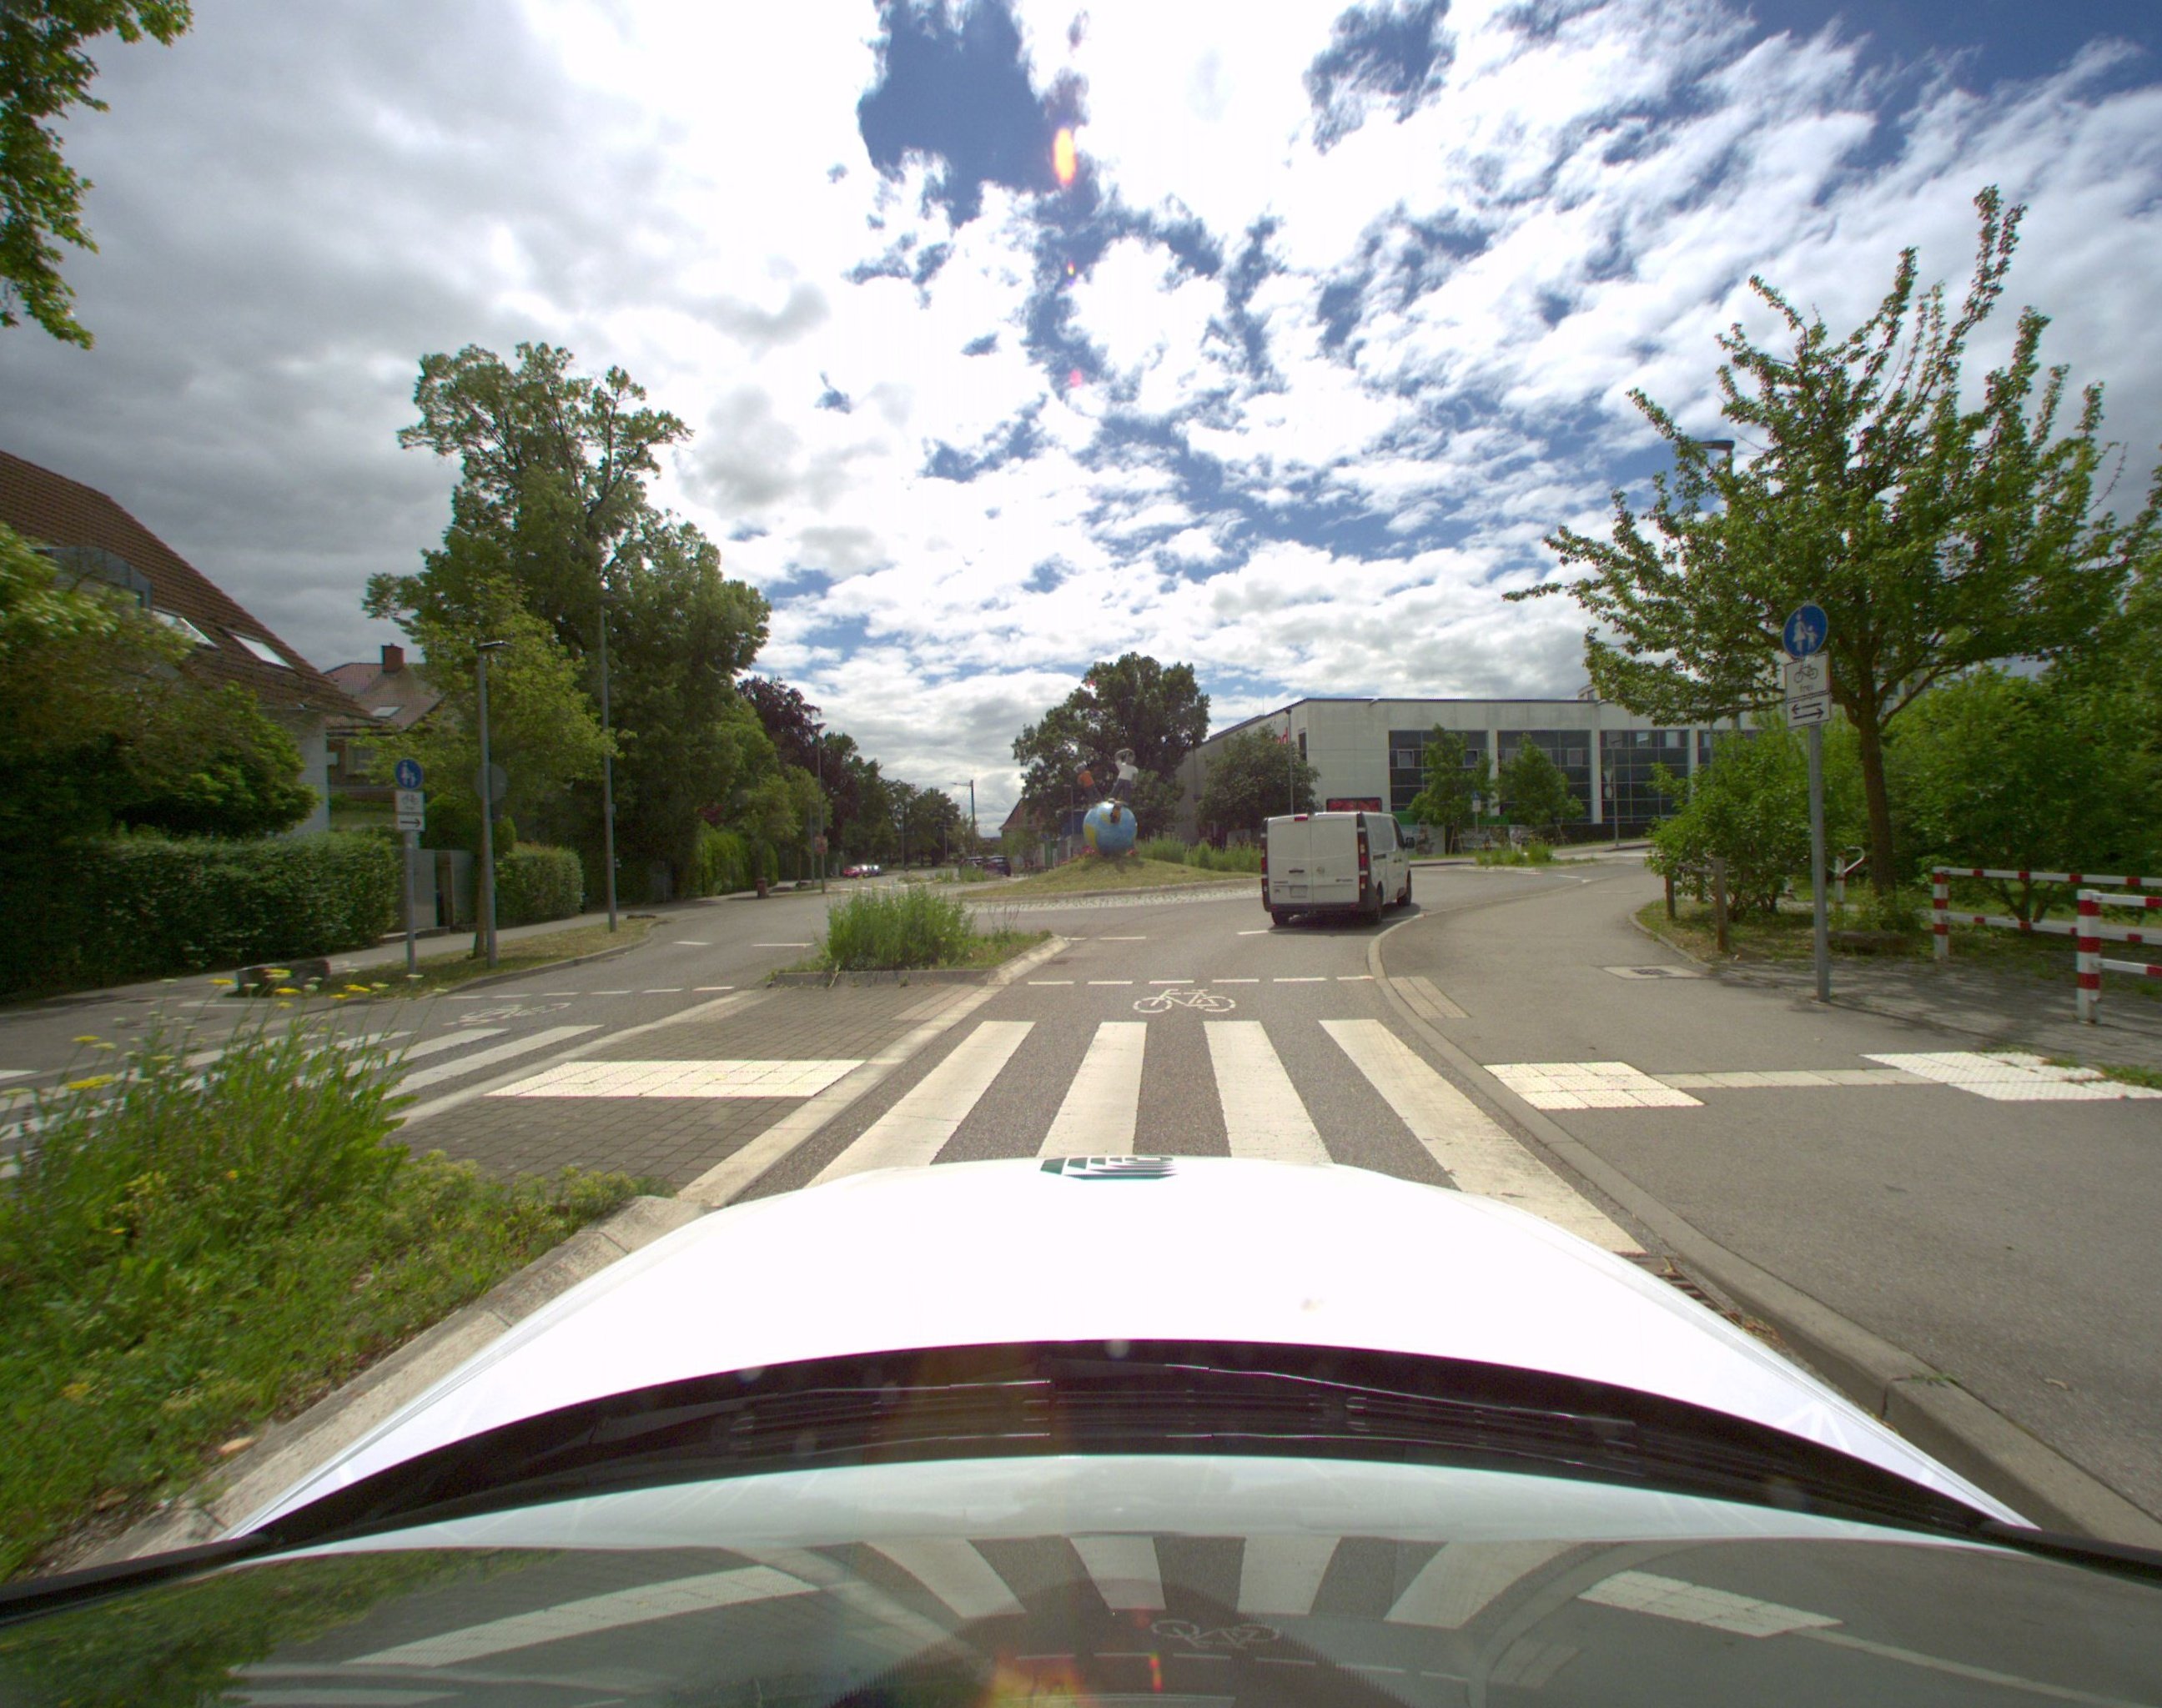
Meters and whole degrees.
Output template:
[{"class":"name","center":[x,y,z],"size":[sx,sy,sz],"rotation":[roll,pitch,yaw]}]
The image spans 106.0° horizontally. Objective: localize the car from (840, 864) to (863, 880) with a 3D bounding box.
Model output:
[{"class":"car","center":[-23.494,1.830,83.187],"size":[2.069,1.386,4.022],"rotation":[-2,1,-19]}]

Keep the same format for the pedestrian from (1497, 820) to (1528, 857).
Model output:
[{"class":"pedestrian","center":[18.345,-0.663,34.612],"size":[1.024,1.541,0.901],"rotation":[0,0,37]}]

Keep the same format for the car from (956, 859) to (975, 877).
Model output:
[{"class":"car","center":[-12.028,1.418,85.172],"size":[1.896,1.744,3.914],"rotation":[-2,1,-8]}]

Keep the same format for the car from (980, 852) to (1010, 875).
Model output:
[{"class":"car","center":[-6.342,0.663,59.833],"size":[1.933,1.537,3.912],"rotation":[-2,1,-10]}]

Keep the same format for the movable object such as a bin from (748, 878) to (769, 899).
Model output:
[{"class":"movable object such as a bin","center":[-14.602,1.568,36.910],"size":[0.627,0.863,0.640],"rotation":[-3,0,1]}]

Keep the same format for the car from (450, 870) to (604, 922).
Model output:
[{"class":"car","center":[-19.398,1.447,28.633],"size":[3.971,1.486,2.002],"rotation":[-3,0,3]}]

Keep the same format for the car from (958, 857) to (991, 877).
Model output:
[{"class":"car","center":[-8.849,1.066,67.344],"size":[1.926,1.500,3.898],"rotation":[-2,1,-20]}]

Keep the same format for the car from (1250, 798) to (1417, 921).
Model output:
[{"class":"car","center":[4.992,0.066,15.551],"size":[2.015,1.945,5.024],"rotation":[0,0,29]}]
